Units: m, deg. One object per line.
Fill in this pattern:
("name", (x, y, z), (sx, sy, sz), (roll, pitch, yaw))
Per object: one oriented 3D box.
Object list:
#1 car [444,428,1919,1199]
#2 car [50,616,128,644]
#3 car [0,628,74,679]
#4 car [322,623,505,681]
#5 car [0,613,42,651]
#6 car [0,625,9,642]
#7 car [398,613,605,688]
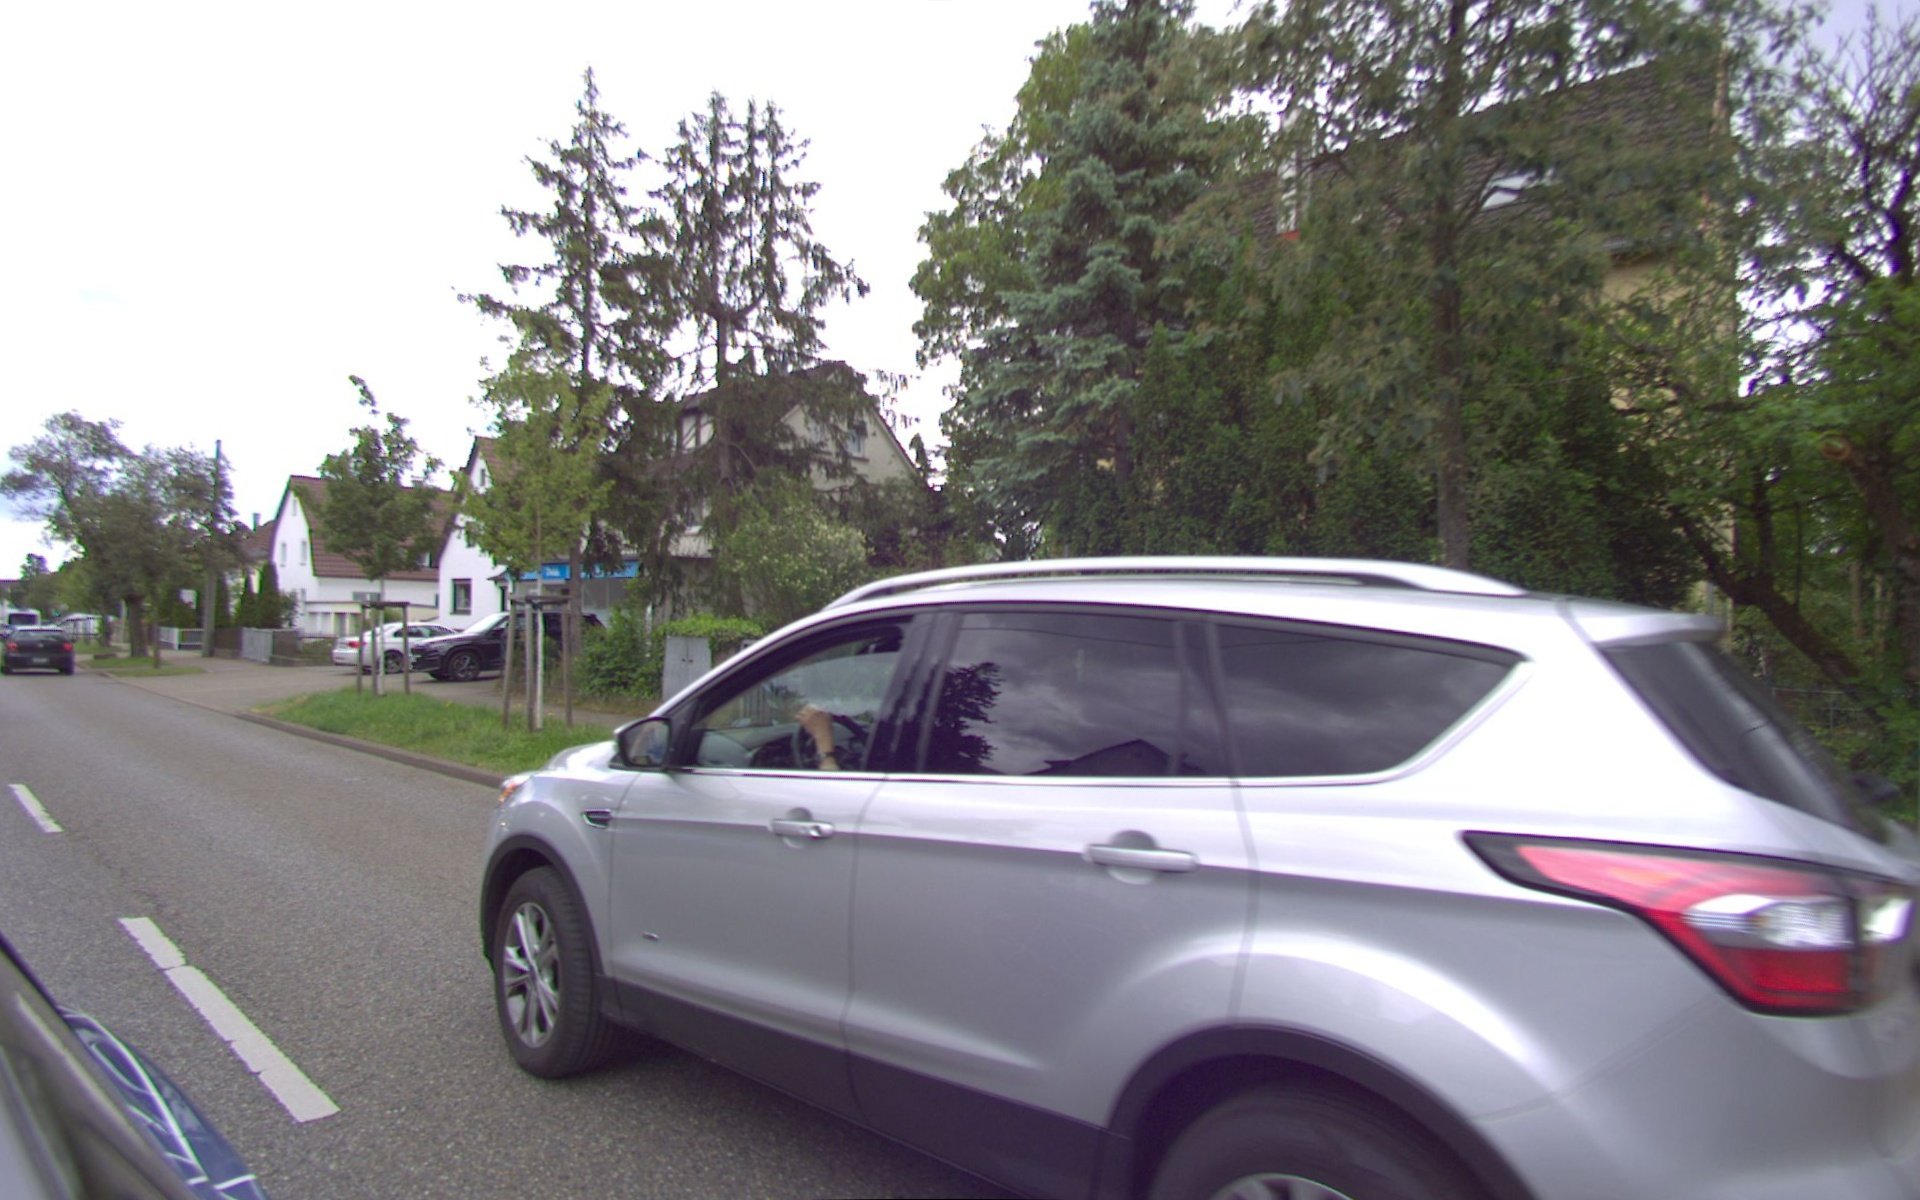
("car", (0.357, 0.727, 2.952), (4.095, 1.719, 1.725), (-1, -4, 39))
("car", (-88.268, 3.045, 102.682), (5.525, 2.583, 2.137), (3, -3, -26))
("car", (-28.308, 1.616, 30.821), (3.470, 1.483, 1.558), (-2, -4, 42))
("car", (-15.541, 1.422, 28.960), (1.814, 1.378, 4.236), (-1, 0, 39))
("car", (-67.046, 2.286, 72.115), (2.049, 2.602, 5.303), (5, -5, -45))
("car", (-101.242, 3.558, 106.349), (1.774, 1.765, 4.302), (3, -3, -43))
("car", (-11.269, 1.171, 25.049), (4.282, 1.630, 1.975), (0, -1, -43))
